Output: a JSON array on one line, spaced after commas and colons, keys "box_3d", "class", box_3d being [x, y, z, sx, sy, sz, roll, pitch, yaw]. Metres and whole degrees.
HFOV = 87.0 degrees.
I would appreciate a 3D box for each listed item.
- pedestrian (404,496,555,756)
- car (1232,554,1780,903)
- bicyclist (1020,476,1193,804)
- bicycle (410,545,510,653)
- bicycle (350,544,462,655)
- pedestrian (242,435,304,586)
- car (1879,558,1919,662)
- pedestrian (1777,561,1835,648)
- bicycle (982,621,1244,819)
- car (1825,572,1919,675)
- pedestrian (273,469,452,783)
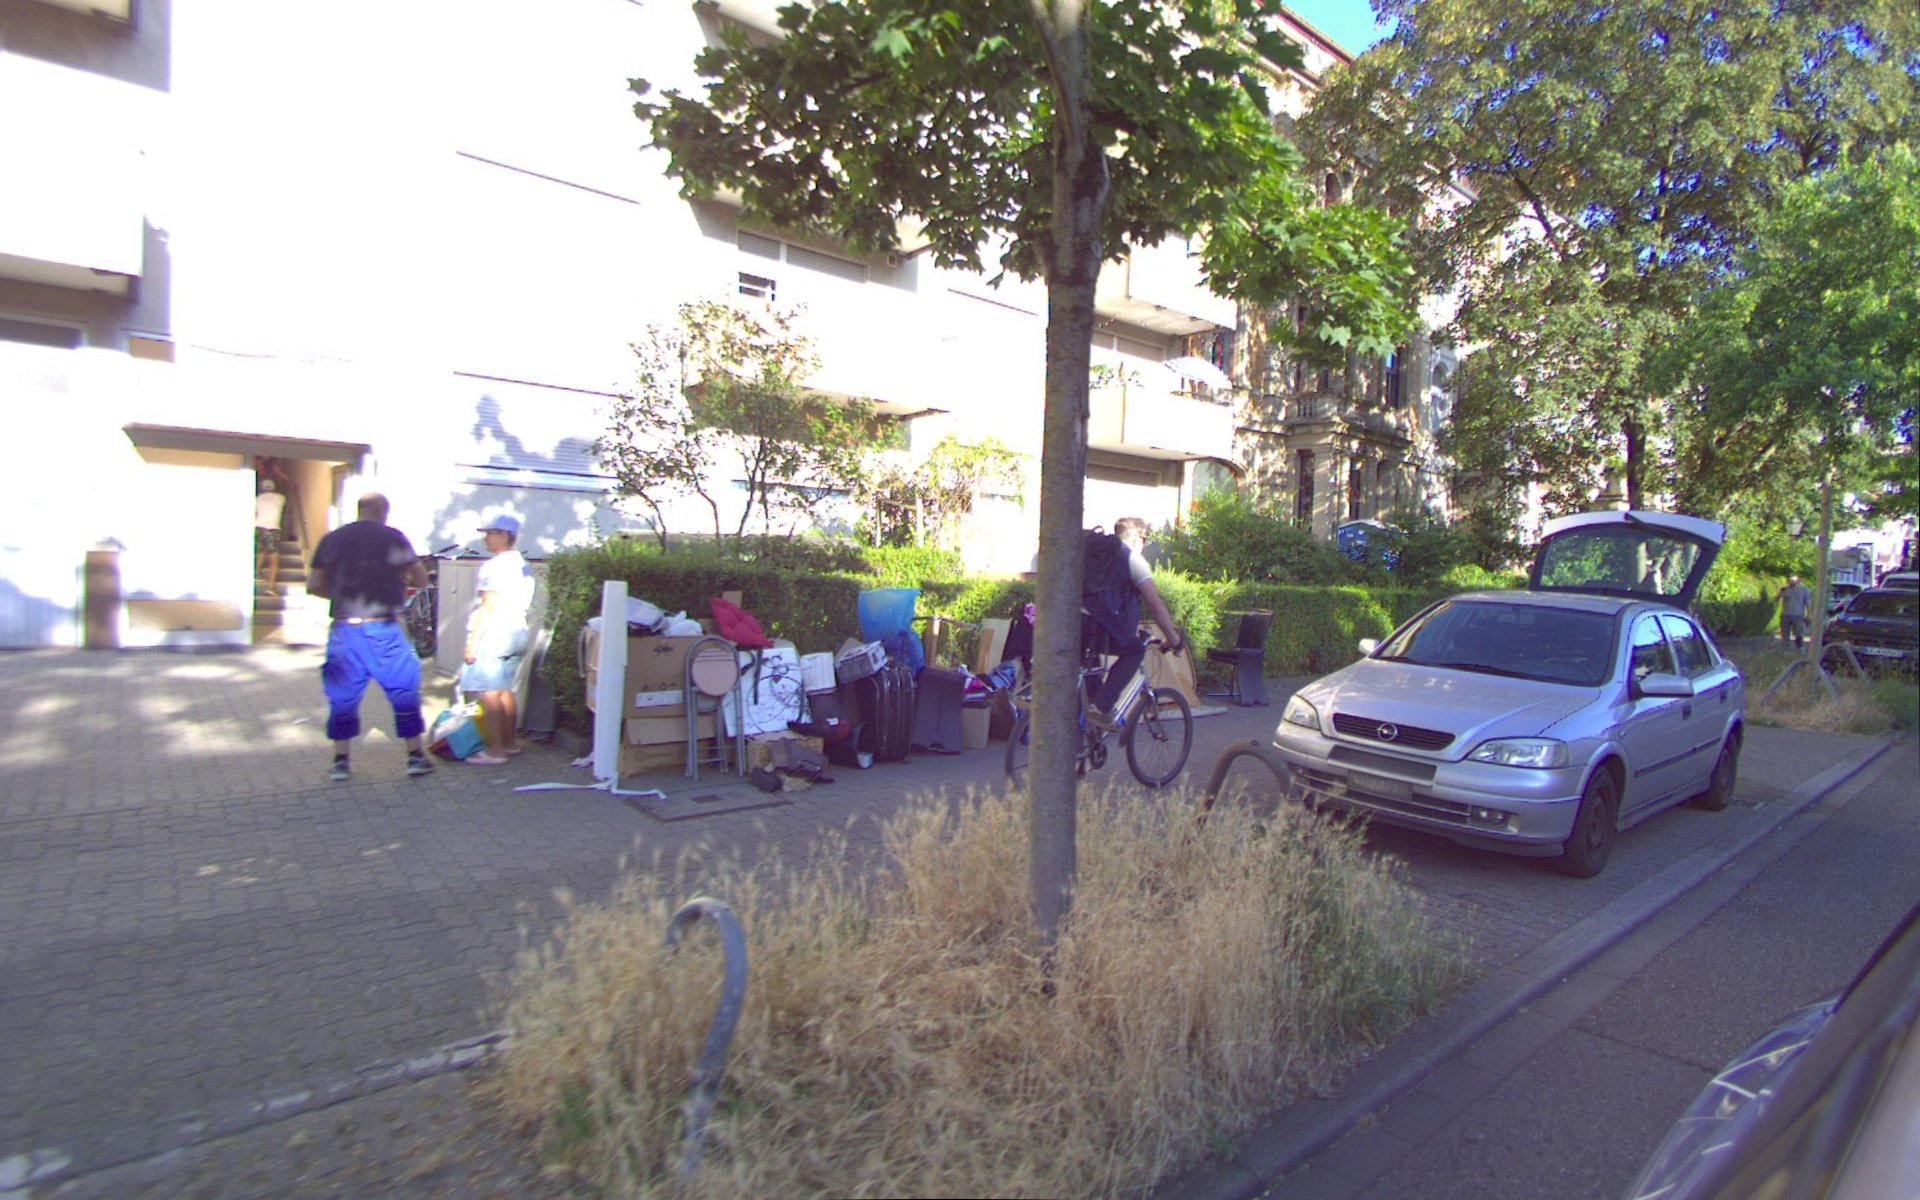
[{"box_3d": [-3.031, 0.149, 6.429, 0.682, 1.559, 0.594, 1, 2, -4], "class": "pedestrian"}, {"box_3d": [3.729, 0.536, 6.558, 4.194, 1.498, 1.712, 0, 5, -41], "class": "car"}, {"box_3d": [0.884, 0.212, 6.079, 0.837, 1.811, 0.582, 0, 2, -41], "class": "bicyclist"}, {"box_3d": [-5.856, -0.055, 11.961, 0.507, 1.154, 2.210, 1, 2, -12], "class": "bicycle"}, {"box_3d": [-6.375, -0.052, 11.756, 0.507, 1.154, 2.210, 1, 2, -12], "class": "bicycle"}, {"box_3d": [-10.193, -1.298, 15.012, 0.687, 2.153, 0.698, 0, 2, -40], "class": "pedestrian"}, {"box_3d": [21.665, 0.210, 22.100, 4.562, 2.129, 1.906, -1, 3, -43], "class": "car"}, {"box_3d": [18.158, 0.070, 21.719, 1.071, 1.795, 0.821, 0, 2, -45], "class": "pedestrian"}, {"box_3d": [0.986, 0.657, 6.183, 1.799, 0.999, 0.517, 0, 2, -41], "class": "bicycle"}, {"box_3d": [17.279, 0.396, 18.275, 4.236, 1.622, 1.860, 0, 5, -41], "class": "car"}, {"box_3d": [-3.384, 0.130, 5.796, 0.741, 1.660, 0.697, 1, 2, -18], "class": "pedestrian"}]
